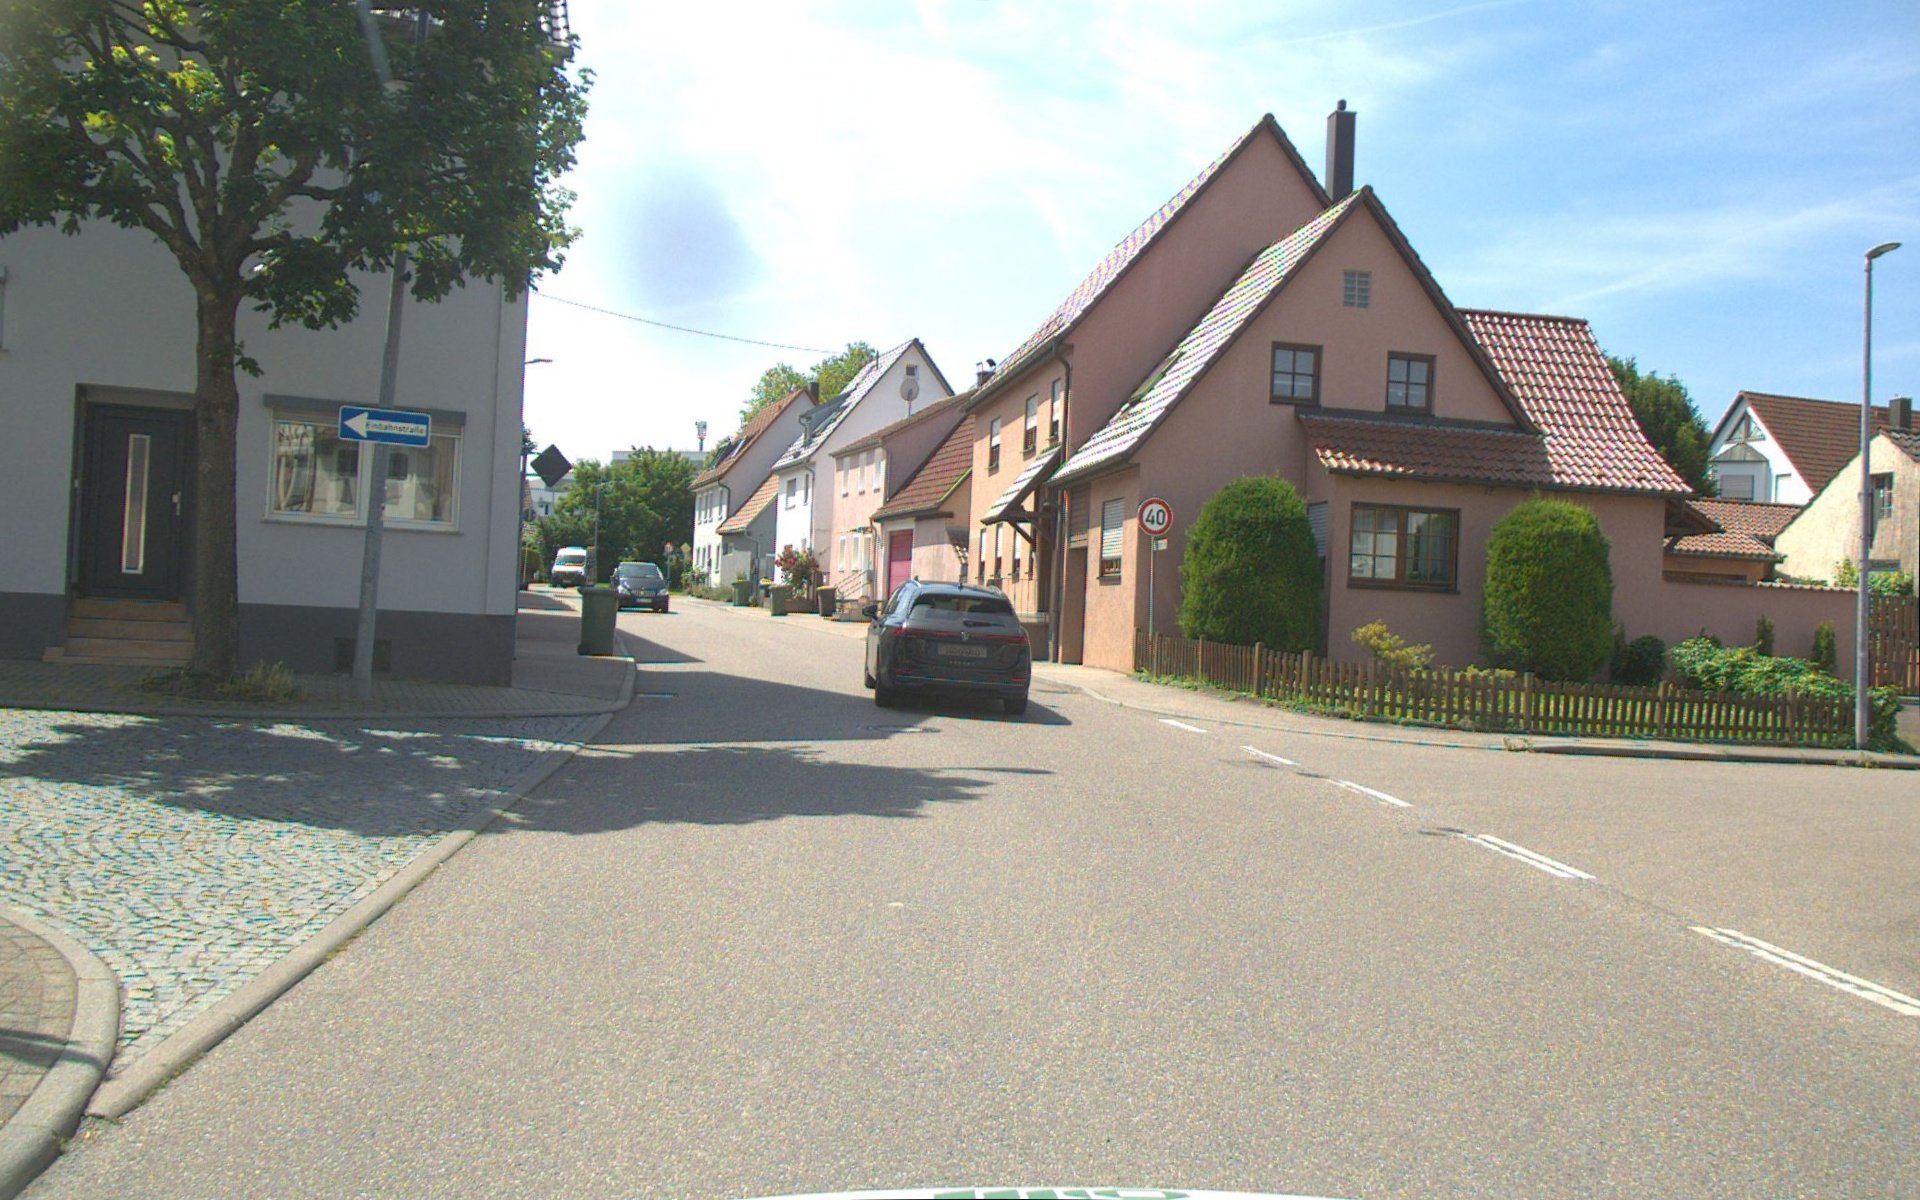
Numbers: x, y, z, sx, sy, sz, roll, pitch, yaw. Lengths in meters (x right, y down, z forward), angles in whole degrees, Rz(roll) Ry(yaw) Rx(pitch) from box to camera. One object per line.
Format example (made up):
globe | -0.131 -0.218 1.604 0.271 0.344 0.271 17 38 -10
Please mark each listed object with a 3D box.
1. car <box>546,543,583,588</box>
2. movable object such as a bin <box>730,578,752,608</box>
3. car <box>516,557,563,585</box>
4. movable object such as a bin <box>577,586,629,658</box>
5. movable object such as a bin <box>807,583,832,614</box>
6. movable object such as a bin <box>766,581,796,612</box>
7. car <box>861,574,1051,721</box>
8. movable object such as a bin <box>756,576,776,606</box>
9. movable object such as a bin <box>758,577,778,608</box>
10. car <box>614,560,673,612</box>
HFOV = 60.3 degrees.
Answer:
car | -24.428 -2.146 102.222 2.078 2.607 5.808 2 1 -13
movable object such as a bin | -9.045 -0.308 68.377 0.668 1.175 0.815 4 0 -22
car | -32.889 -2.257 129.505 2.084 2.048 4.939 3 0 3
movable object such as a bin | -5.682 0.345 26.350 0.740 1.078 0.678 3 0 -11
movable object such as a bin | -5.008 -0.056 58.833 0.668 1.068 0.830 -2 2 -22
movable object such as a bin | -6.414 -0.131 59.405 0.863 1.093 0.867 -2 2 -22
car | -0.178 0.483 20.210 1.806 1.444 4.677 2 2 -6
movable object such as a bin | -8.034 -0.379 68.382 0.654 1.215 0.657 3 0 -18
movable object such as a bin | -7.872 -0.311 67.657 0.654 1.215 0.585 3 0 -18
car | -10.486 -0.485 54.676 1.768 1.582 4.058 2 1 -13
